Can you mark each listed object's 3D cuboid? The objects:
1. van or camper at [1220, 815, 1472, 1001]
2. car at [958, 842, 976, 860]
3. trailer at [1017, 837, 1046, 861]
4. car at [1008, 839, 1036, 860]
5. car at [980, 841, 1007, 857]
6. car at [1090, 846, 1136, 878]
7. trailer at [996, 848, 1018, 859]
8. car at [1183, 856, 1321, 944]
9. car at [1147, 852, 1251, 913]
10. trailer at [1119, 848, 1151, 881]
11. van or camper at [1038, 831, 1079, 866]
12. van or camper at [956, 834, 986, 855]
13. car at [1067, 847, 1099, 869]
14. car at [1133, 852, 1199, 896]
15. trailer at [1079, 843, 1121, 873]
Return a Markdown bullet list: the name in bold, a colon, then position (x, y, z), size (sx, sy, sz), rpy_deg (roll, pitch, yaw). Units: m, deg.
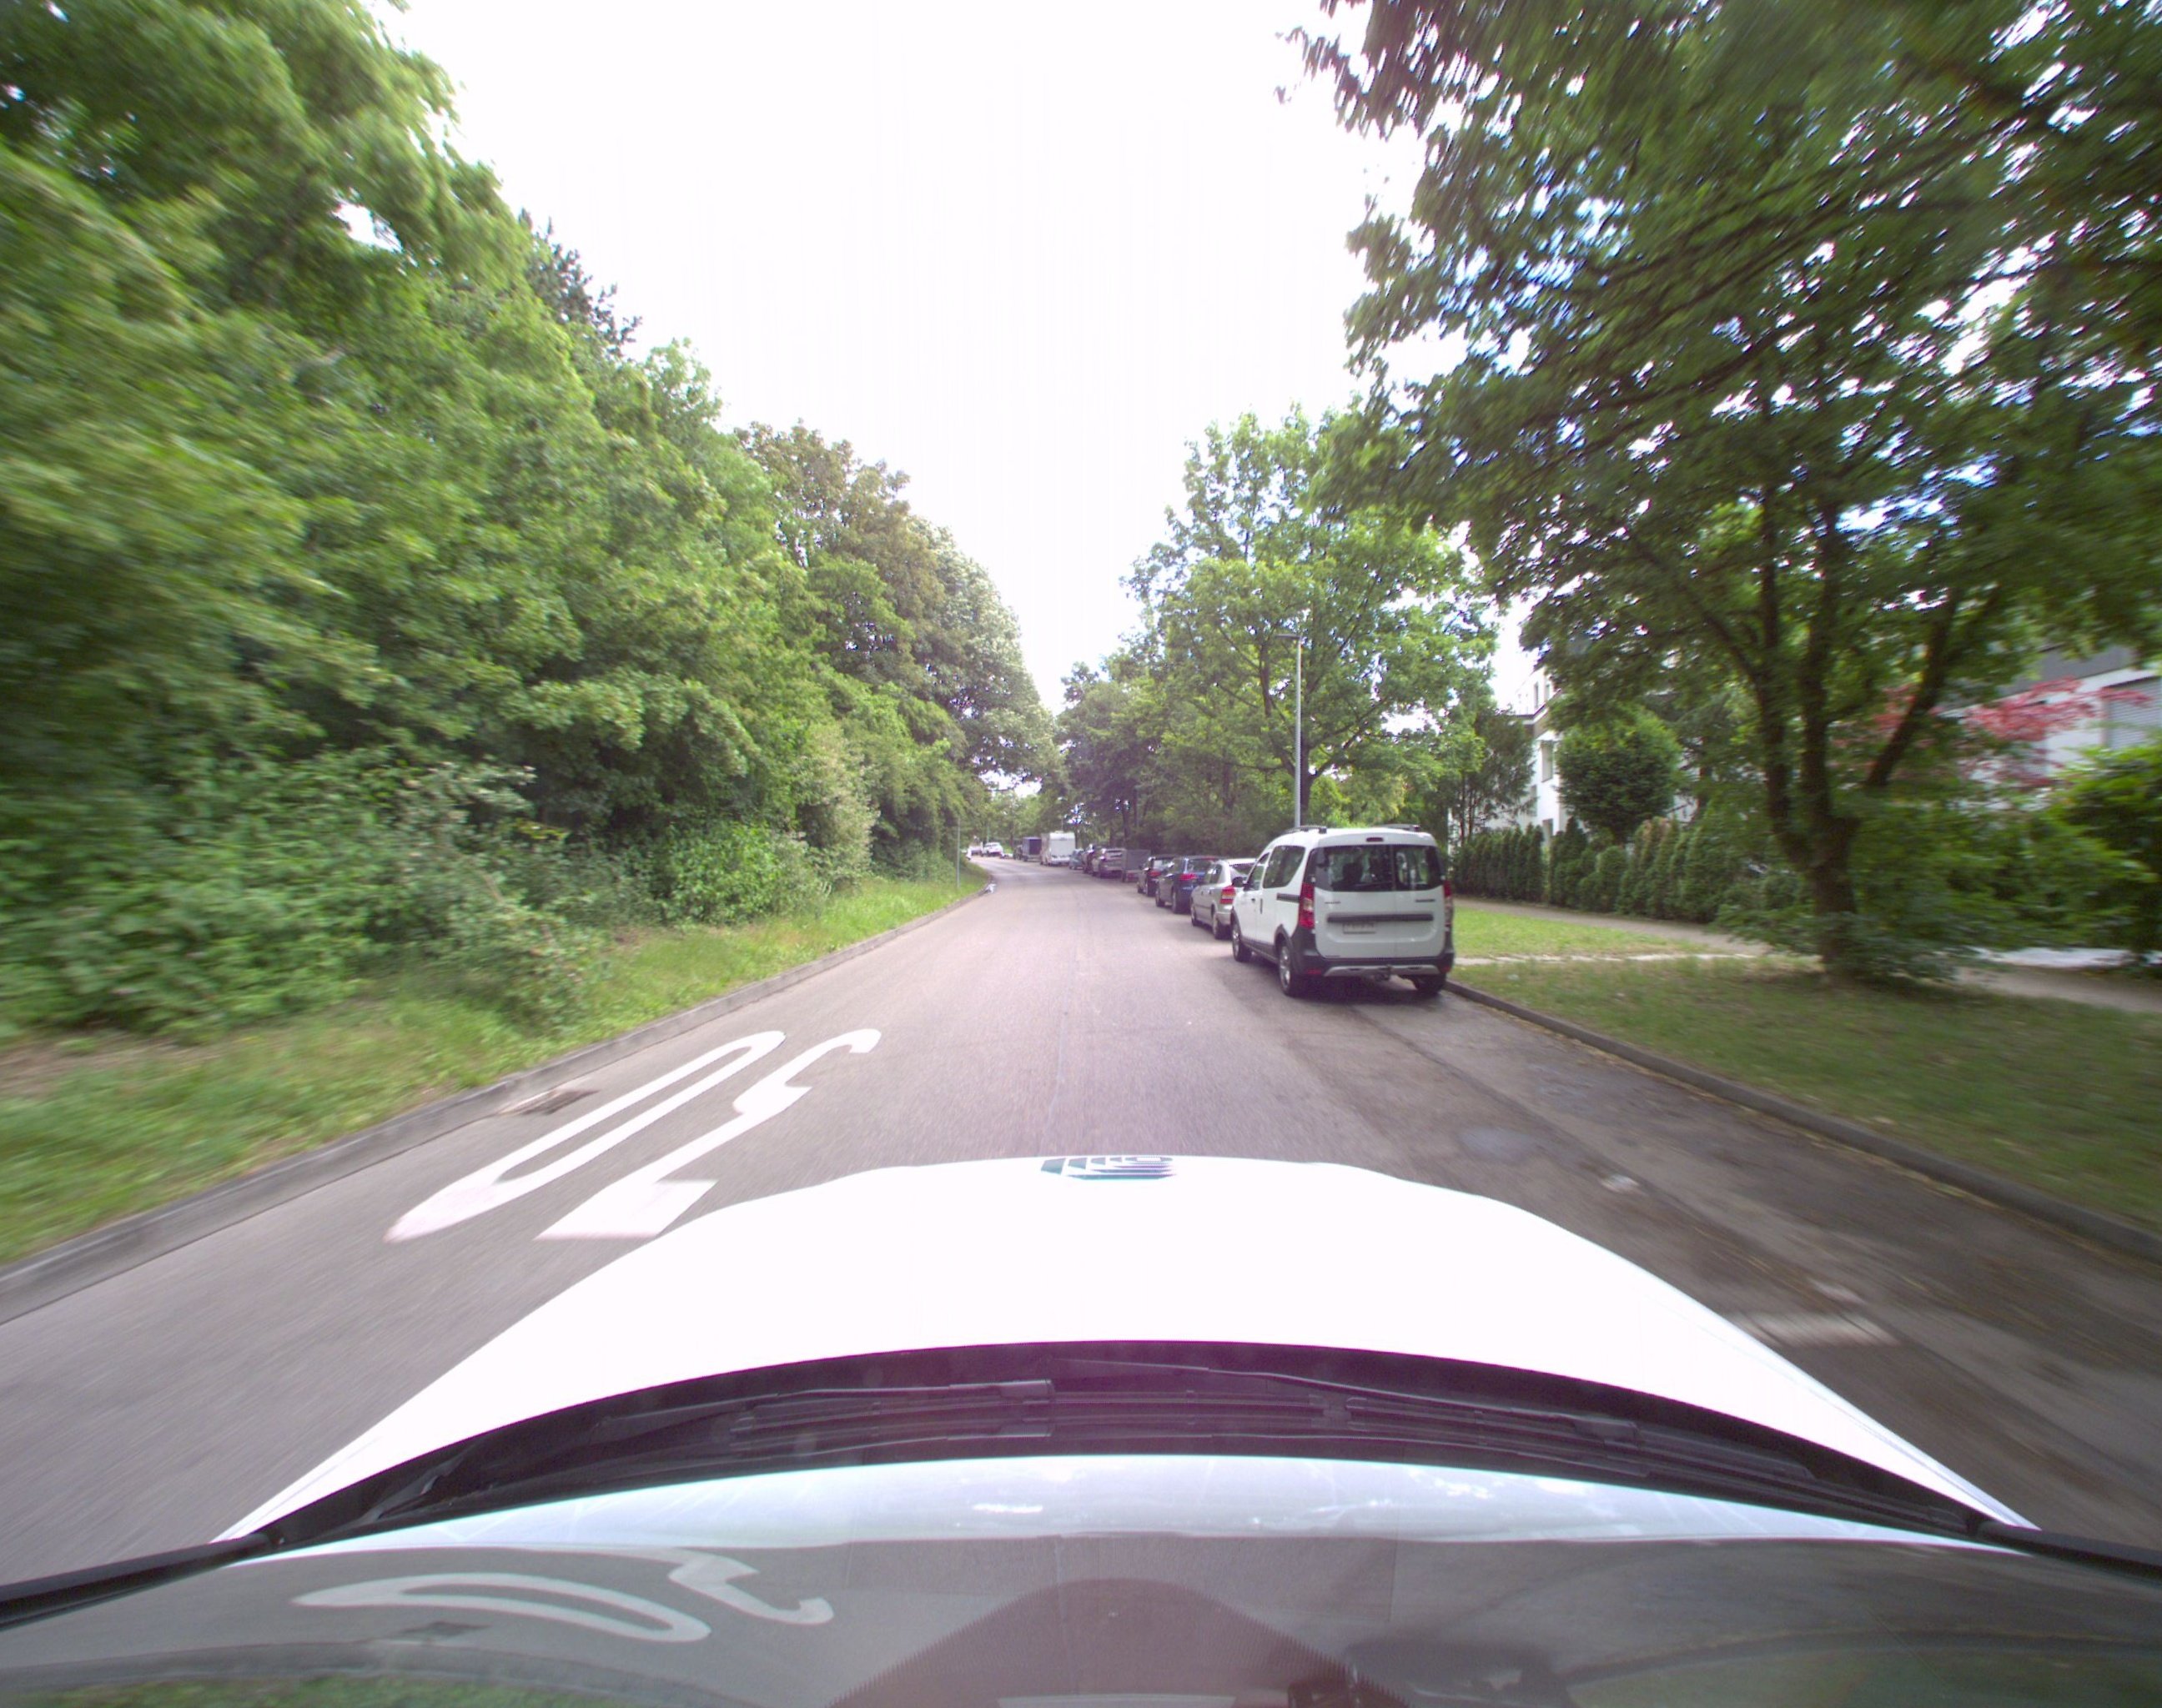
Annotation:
- **van or camper**: position (3.005, 0.574, 10.275), size (1.796, 1.838, 4.320), rpy_deg (0, -1, 0)
- **car**: position (-12.928, -0.364, 92.877), size (1.946, 1.984, 4.491), rpy_deg (0, 1, -7)
- **trailer**: position (-5.023, -0.500, 82.446), size (2.000, 2.398, 3.975), rpy_deg (-1, 1, -19)
- **car**: position (-6.373, -0.534, 87.881), size (2.000, 2.025, 3.974), rpy_deg (-4, 3, -20)
- **car**: position (-10.836, -0.641, 100.464), size (2.045, 1.803, 4.050), rpy_deg (-2, 1, -24)
- **car**: position (1.759, 0.461, 46.317), size (1.791, 1.670, 4.489), rpy_deg (-1, -1, -8)
- **trailer**: position (-8.358, -0.092, 91.524), size (1.656, 1.086, 3.978), rpy_deg (-3, 2, -17)
- **car**: position (3.176, 0.785, 15.986), size (1.807, 1.437, 4.241), rpy_deg (1, 0, 0)
- **car**: position (3.039, 0.680, 21.865), size (1.844, 1.474, 4.472), rpy_deg (0, 0, -4)
- **trailer**: position (2.656, 0.493, 40.131), size (1.276, 1.585, 2.457), rpy_deg (0, 0, -4)
- **van or camper**: position (-2.059, -0.505, 72.108), size (2.483, 2.876, 6.863), rpy_deg (-1, 0, -11)
- **van or camper**: position (-14.641, -1.266, 108.256), size (2.540, 2.697, 4.536), rpy_deg (-2, 2, -27)
- **car**: position (0.123, 0.251, 61.935), size (1.799, 1.562, 3.823), rpy_deg (-1, 1, -9)
- **car**: position (2.983, 0.669, 29.331), size (1.717, 1.453, 3.912), rpy_deg (0, 0, -4)
- **trailer**: position (1.155, 0.217, 52.634), size (1.977, 1.811, 5.137), rpy_deg (-1, 1, -7)
